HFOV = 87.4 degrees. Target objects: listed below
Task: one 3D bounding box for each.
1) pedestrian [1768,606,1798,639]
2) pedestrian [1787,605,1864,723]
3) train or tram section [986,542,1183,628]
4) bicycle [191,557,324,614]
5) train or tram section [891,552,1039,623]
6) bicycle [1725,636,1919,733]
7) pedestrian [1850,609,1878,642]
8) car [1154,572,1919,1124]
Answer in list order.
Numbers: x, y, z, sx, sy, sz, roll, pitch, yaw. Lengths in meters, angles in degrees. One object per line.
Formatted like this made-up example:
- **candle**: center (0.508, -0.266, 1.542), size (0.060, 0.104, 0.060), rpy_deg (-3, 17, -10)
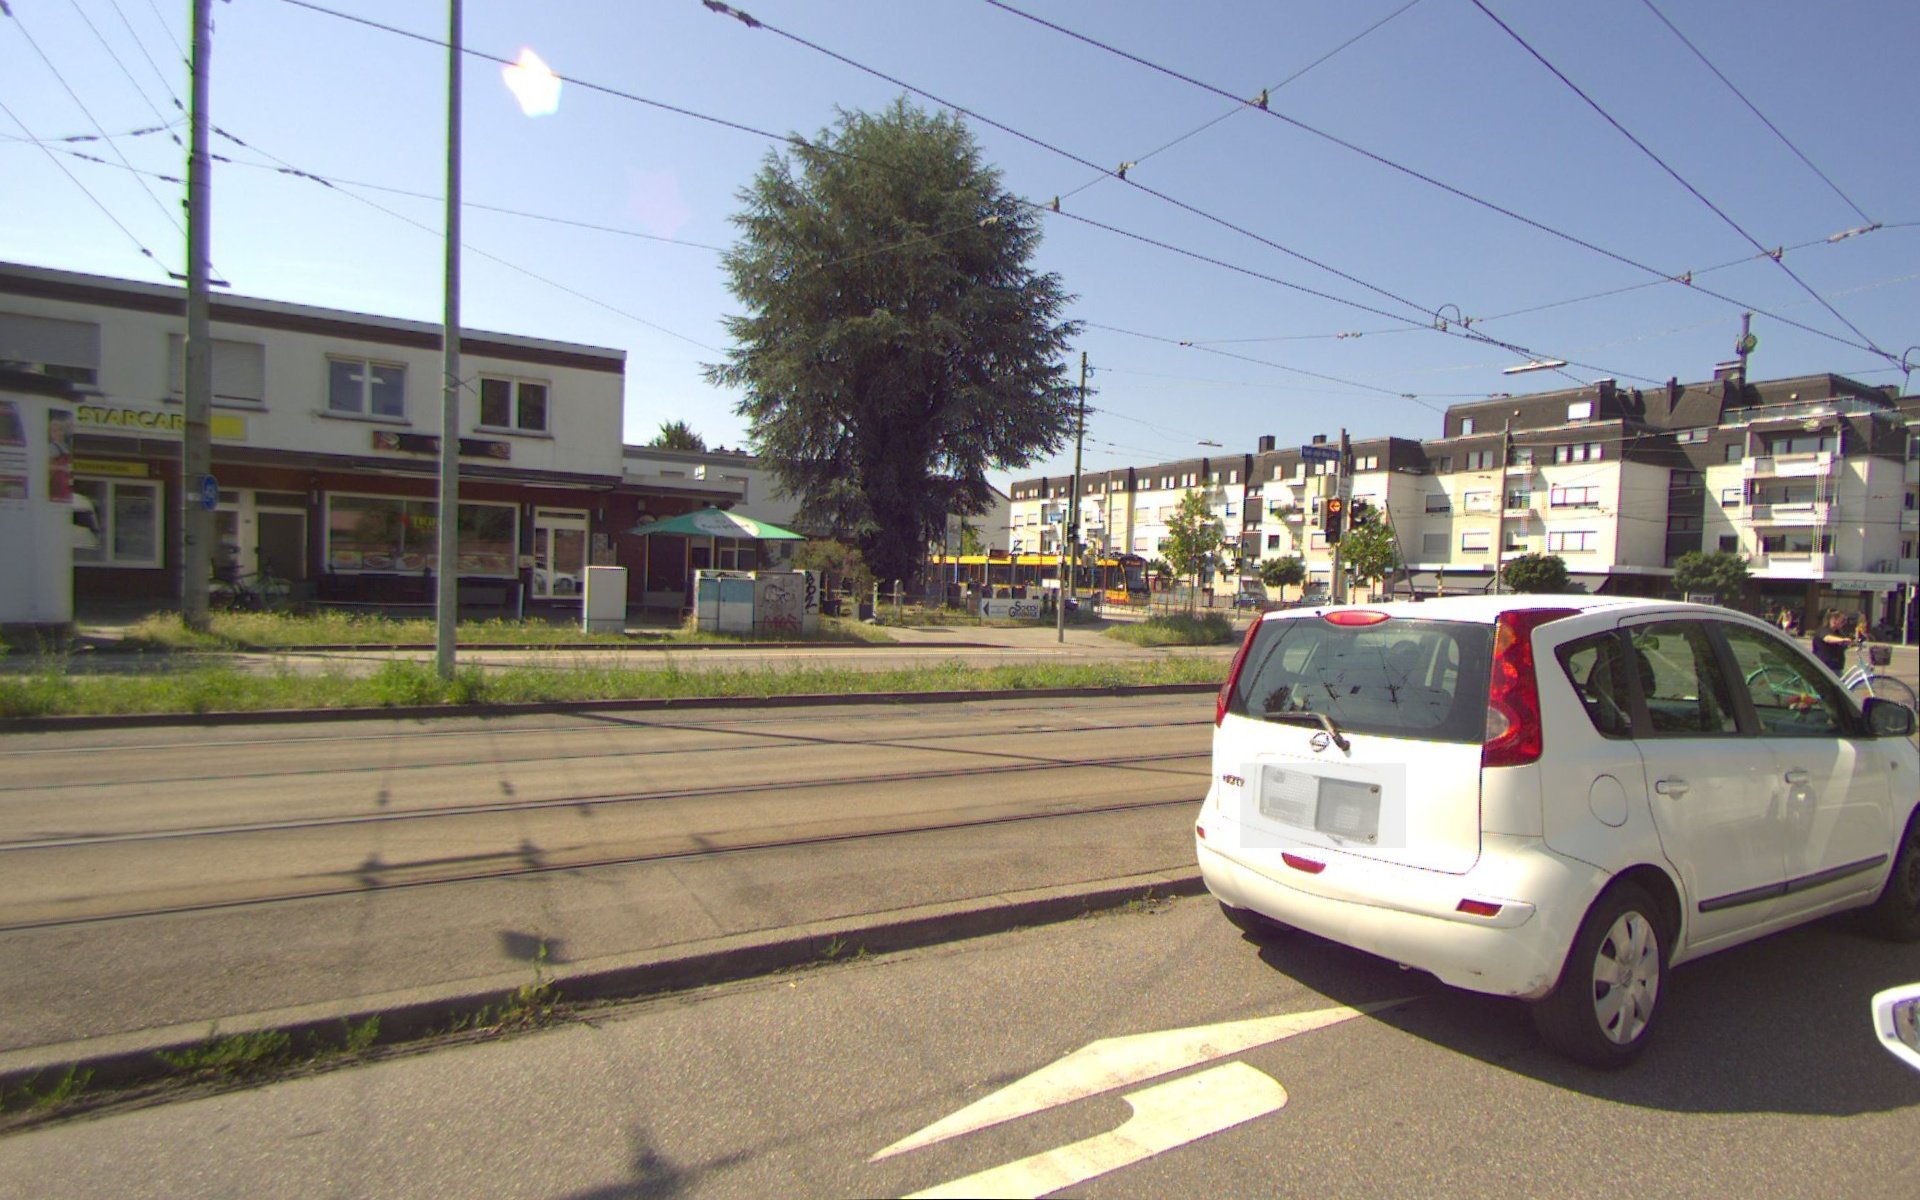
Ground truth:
- **pedestrian**: center (45.703, 1.238, 55.772), size (0.955, 1.766, 0.865), rpy_deg (2, -1, 3)
- **pedestrian**: center (12.143, 0.871, 14.096), size (0.670, 1.593, 0.738), rpy_deg (0, 1, -43)
- **train or tram section**: center (8.141, -0.898, 70.053), size (4.681, 5.217, 16.121), rpy_deg (2, -1, -30)
- **bicycle**: center (-15.517, -0.292, 22.272), size (2.306, 1.167, 0.783), rpy_deg (2, -1, -30)
- **train or tram section**: center (-0.028, -0.933, 83.977), size (4.681, 5.217, 16.121), rpy_deg (2, -1, -30)
- **bicycle**: center (11.722, 1.101, 13.654), size (0.705, 1.105, 1.999), rpy_deg (1, 2, -44)
- **pedestrian**: center (50.170, 1.422, 55.743), size (0.957, 1.766, 0.863), rpy_deg (1, -1, 28)
- **car**: center (2.855, 0.721, 4.557), size (3.759, 1.587, 1.634), rpy_deg (0, 0, -31)
